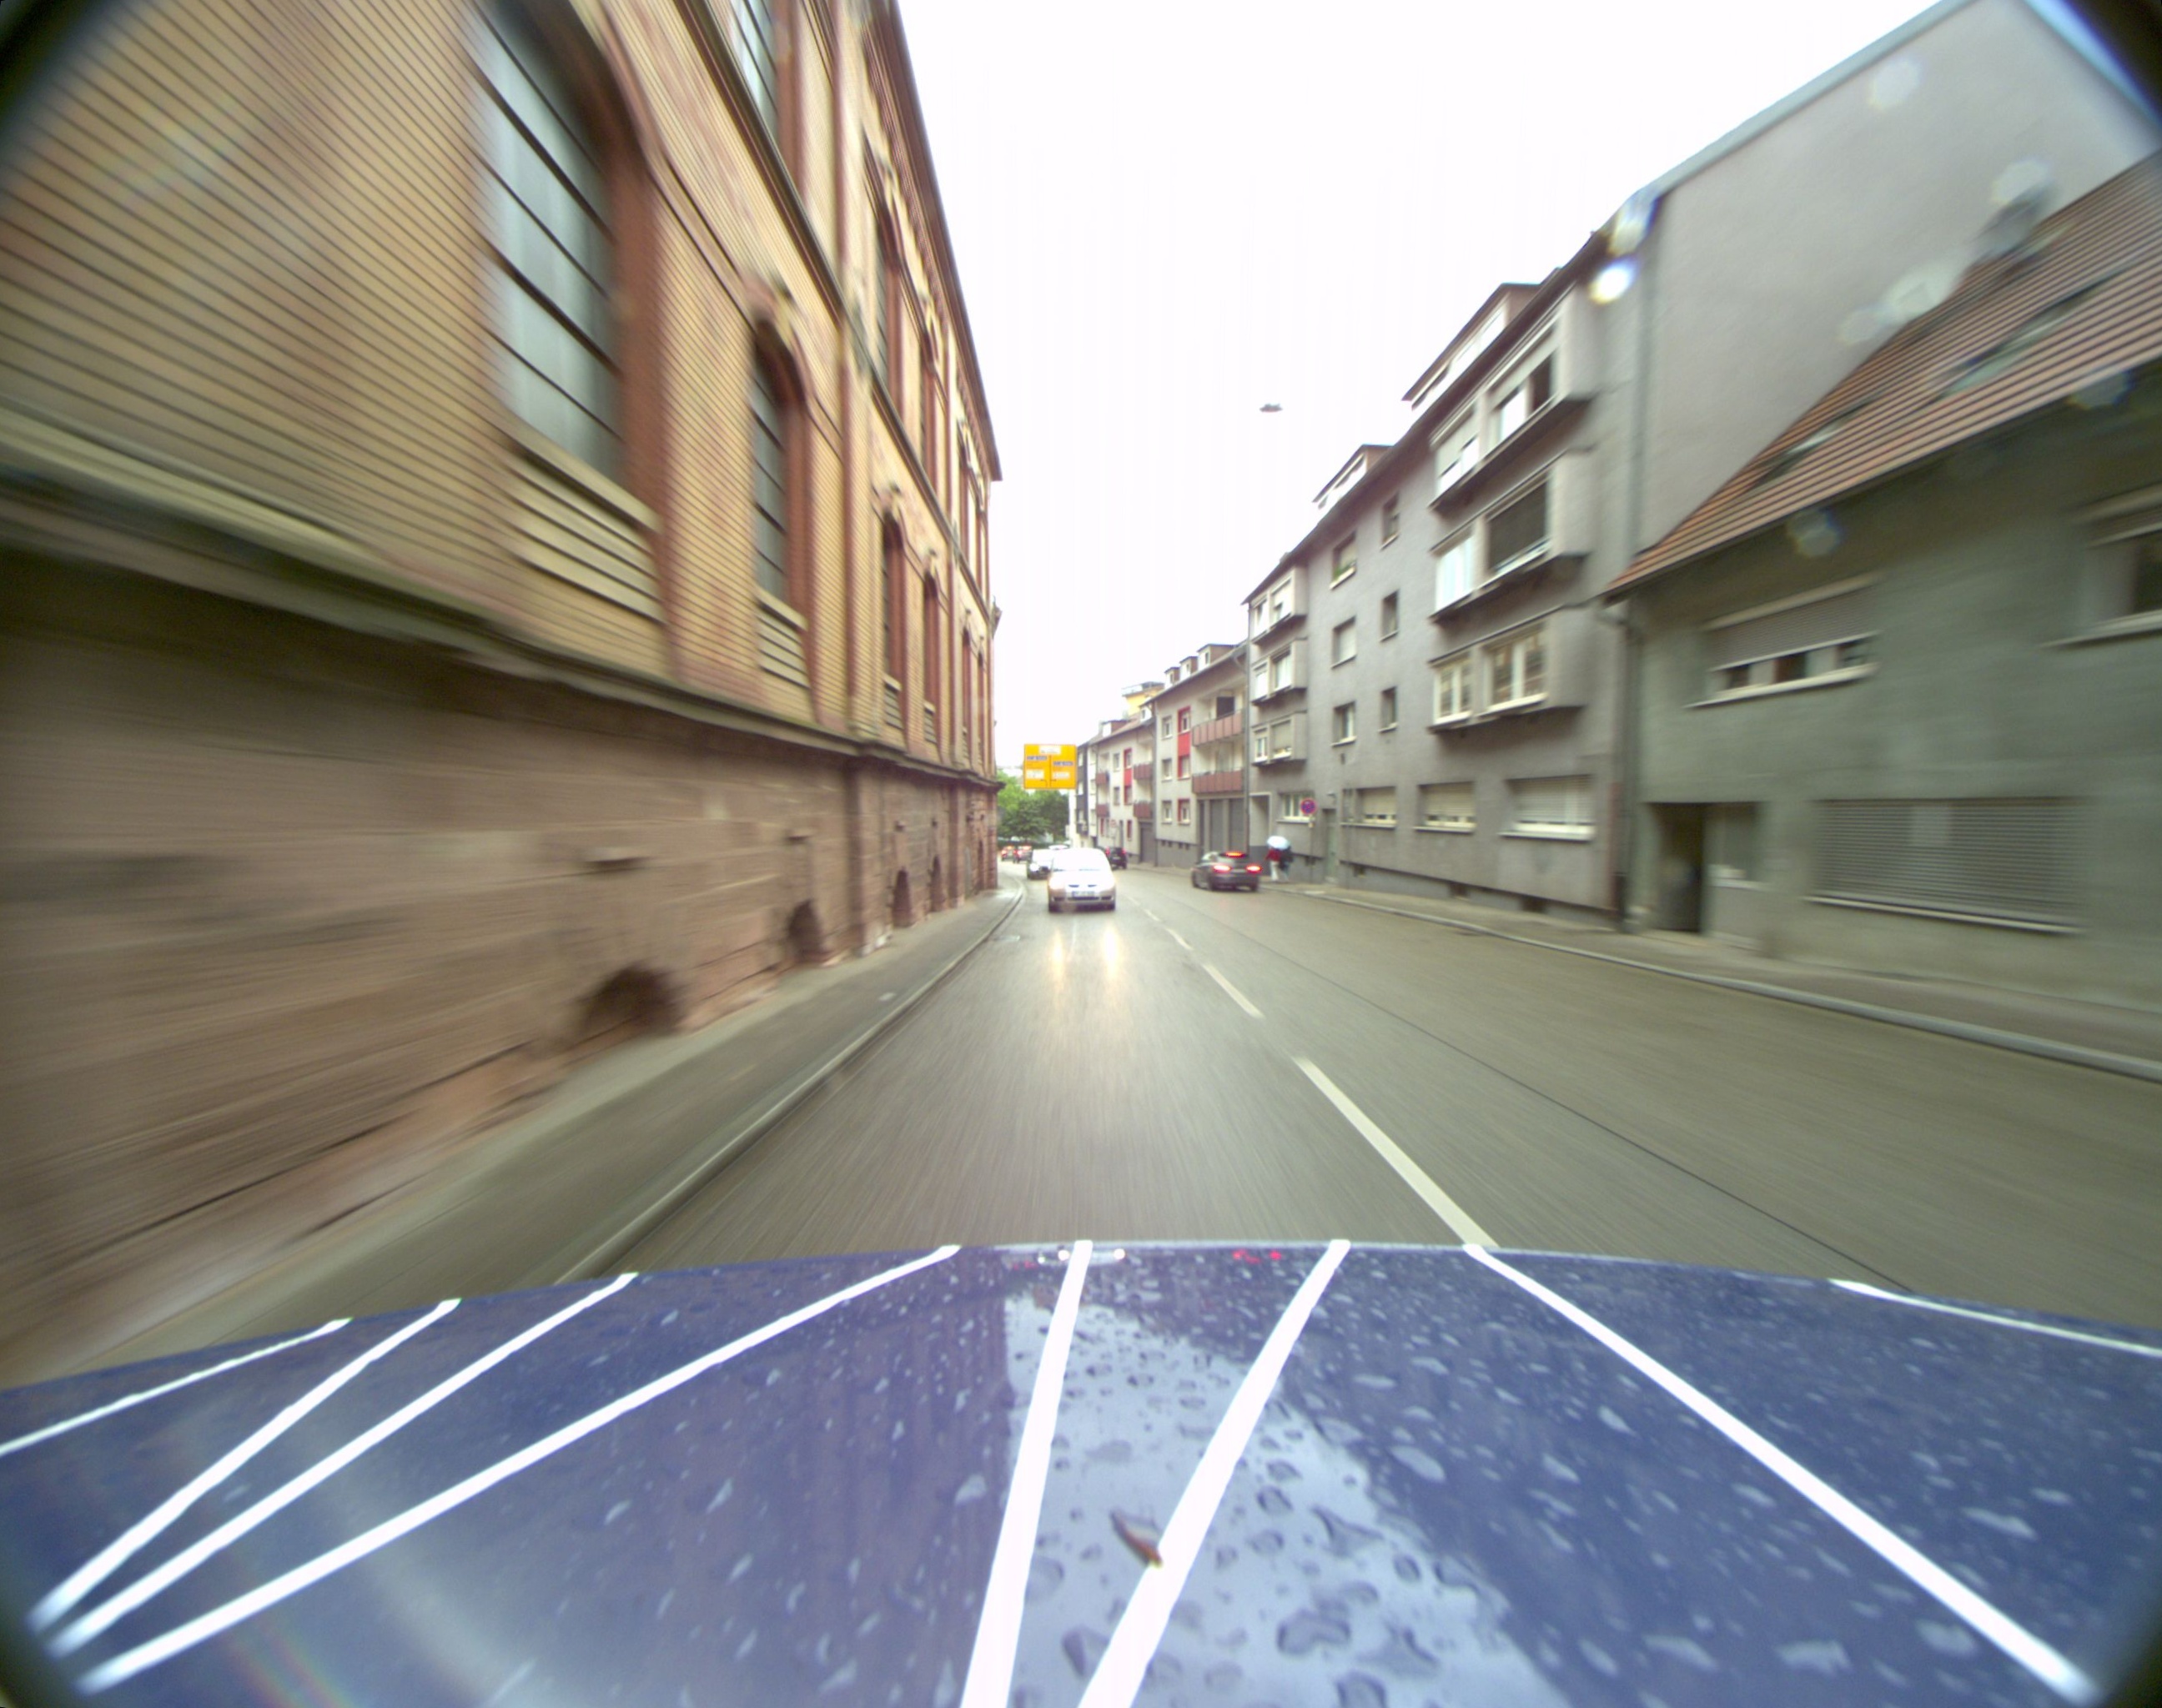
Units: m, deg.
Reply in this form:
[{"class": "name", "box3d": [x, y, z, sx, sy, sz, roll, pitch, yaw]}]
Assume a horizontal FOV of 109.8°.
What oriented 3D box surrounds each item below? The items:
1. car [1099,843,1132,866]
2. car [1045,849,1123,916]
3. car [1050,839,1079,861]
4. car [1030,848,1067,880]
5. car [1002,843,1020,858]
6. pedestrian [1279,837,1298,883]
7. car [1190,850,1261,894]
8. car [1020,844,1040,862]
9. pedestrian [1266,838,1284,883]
[{"class": "car", "box3d": [2.318, 0.004, 51.971, 1.650, 1.488, 3.373, 2, 1, -8]}, {"class": "car", "box3d": [-0.008, 0.653, 19.829, 1.687, 1.496, 3.836, -1, 1, -5]}, {"class": "car", "box3d": [-1.269, -0.299, 56.041, 1.770, 1.567, 4.032, 0, 1, -7]}, {"class": "car", "box3d": [-1.666, 0.469, 38.494, 1.687, 1.419, 3.837, -3, 0, -3]}, {"class": "car", "box3d": [-8.130, -0.409, 88.206, 1.770, 1.648, 3.983, 0, 1, -9]}, {"class": "pedestrian", "box3d": [8.119, 0.242, 29.722, 0.524, 1.766, 0.622, 0, 1, -5]}, {"class": "car", "box3d": [5.082, 0.589, 27.188, 1.649, 1.370, 3.849, 2, 1, -2]}, {"class": "car", "box3d": [-4.909, -0.124, 72.762, 1.770, 1.567, 3.761, 0, 1, -7]}, {"class": "pedestrian", "box3d": [7.570, 0.245, 29.677, 0.524, 1.766, 0.622, 0, 1, -5]}]
